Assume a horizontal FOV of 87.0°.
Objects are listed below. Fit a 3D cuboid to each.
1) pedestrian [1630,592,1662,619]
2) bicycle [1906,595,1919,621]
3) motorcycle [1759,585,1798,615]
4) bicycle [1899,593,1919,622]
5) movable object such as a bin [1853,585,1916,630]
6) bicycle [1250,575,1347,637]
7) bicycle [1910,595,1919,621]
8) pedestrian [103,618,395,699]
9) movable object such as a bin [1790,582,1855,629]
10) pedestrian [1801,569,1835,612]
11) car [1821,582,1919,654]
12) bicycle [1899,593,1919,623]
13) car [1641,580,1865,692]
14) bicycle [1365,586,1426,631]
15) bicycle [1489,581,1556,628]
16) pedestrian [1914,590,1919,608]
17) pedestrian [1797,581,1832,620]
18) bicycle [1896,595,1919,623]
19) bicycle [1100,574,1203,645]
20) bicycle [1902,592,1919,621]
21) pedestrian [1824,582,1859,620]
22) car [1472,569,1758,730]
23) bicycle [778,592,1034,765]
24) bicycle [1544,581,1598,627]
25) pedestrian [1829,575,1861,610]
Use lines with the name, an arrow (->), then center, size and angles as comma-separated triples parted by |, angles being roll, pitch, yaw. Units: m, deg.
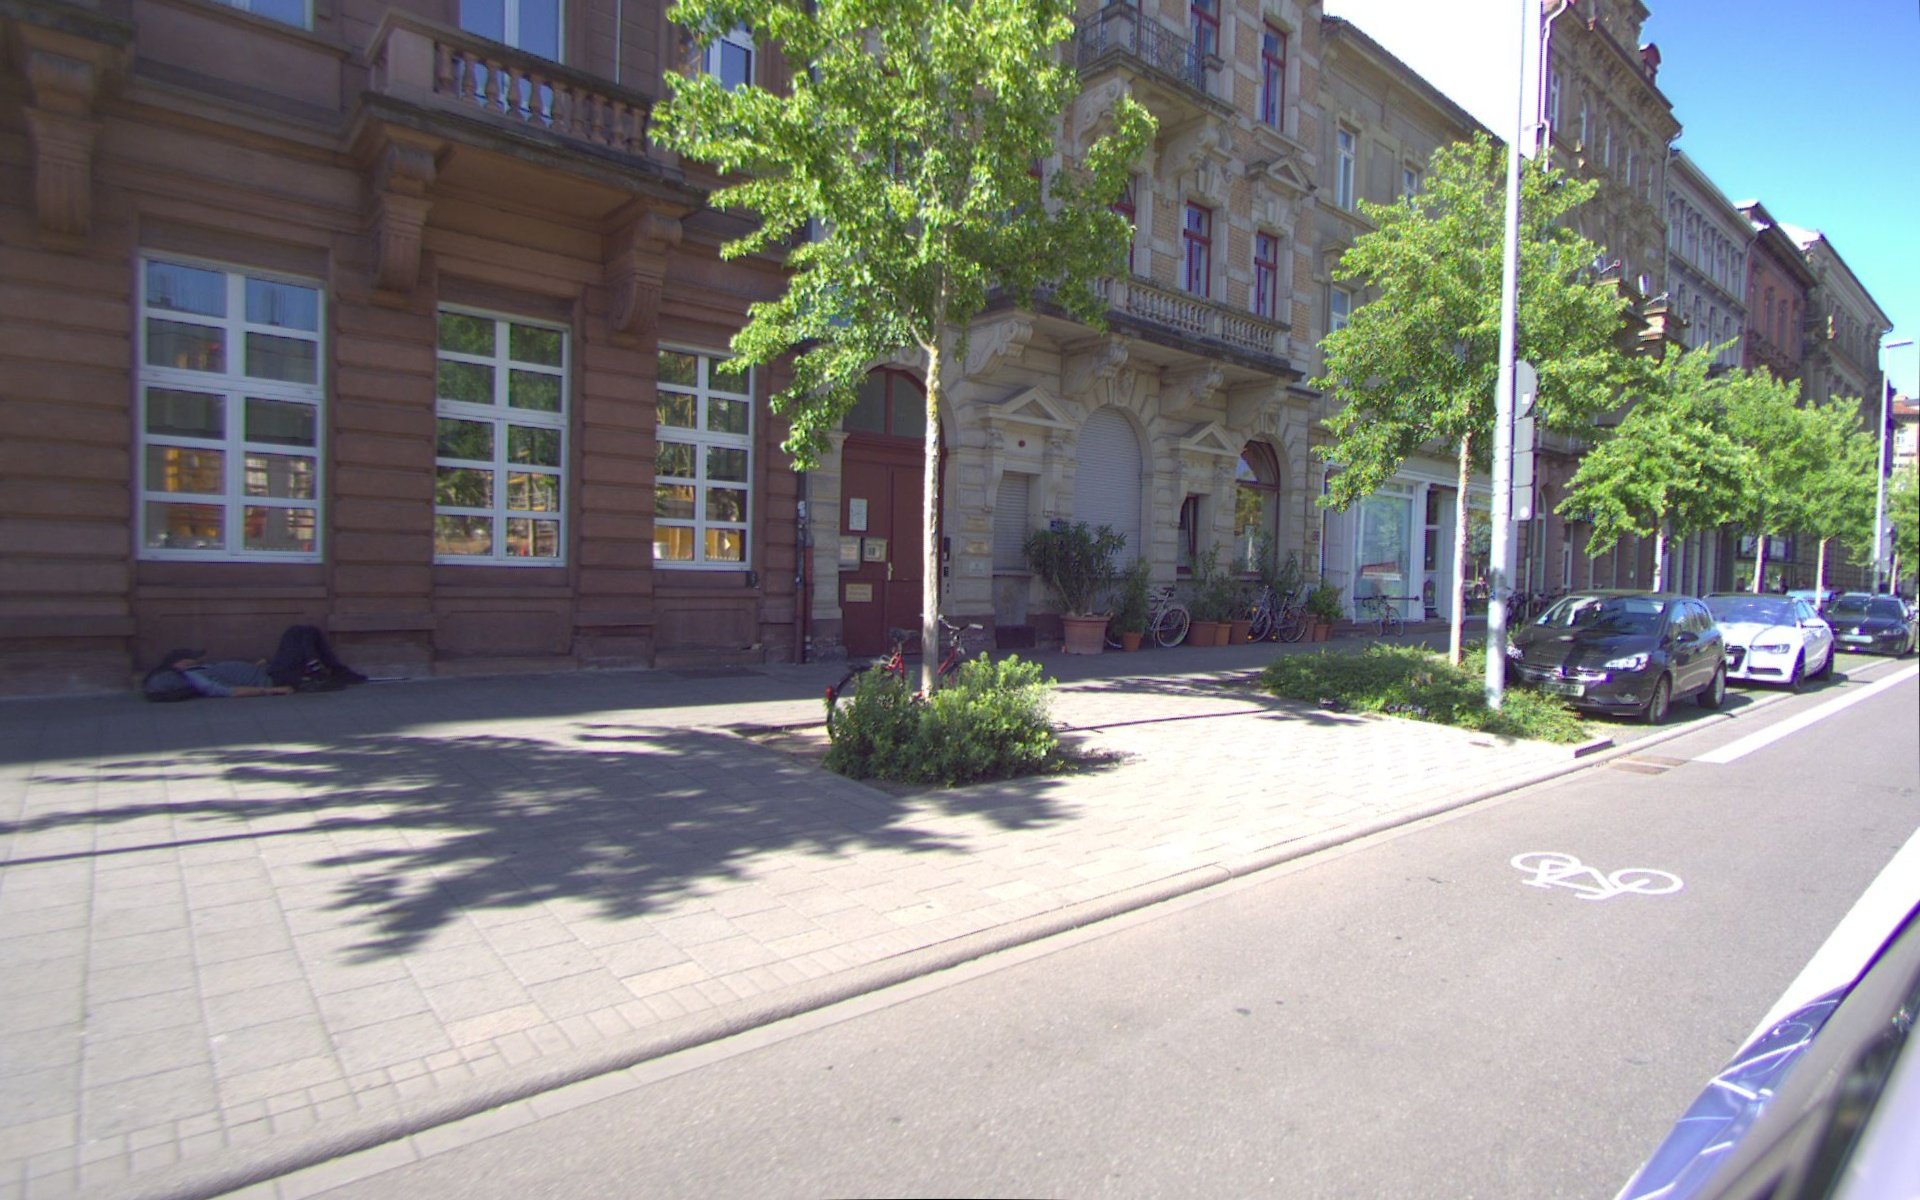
pedestrian -> 22.887, 0.176, 33.770 | 0.867, 0.828, 0.968 | 1, 2, 36
bicycle -> 41.644, 0.394, 43.173 | 1.815, 1.068, 0.562 | 5, 4, 44
motorcycle -> 36.160, -0.021, 44.689 | 2.930, 1.282, 0.867 | -1, 2, -41
bicycle -> 39.603, 0.376, 41.116 | 2.045, 1.120, 0.601 | 7, 5, 44
movable object such as a bin -> 31.505, 0.254, 34.483 | 1.612, 1.482, 1.275 | 3, -1, -36
bicycle -> 6.511, 0.103, 19.423 | 2.160, 1.103, 0.722 | 0, 3, -41
bicycle -> 42.758, 0.387, 44.096 | 0.509, 1.122, 1.893 | -1, 4, -45
pedestrian -> -6.023, 0.462, 8.645 | 1.972, 0.560, 0.775 | 0, 2, -41
movable object such as a bin -> 30.349, 0.165, 35.595 | 1.718, 1.513, 1.377 | -1, 5, -40
pedestrian -> 40.144, -0.470, 47.343 | 1.077, 1.943, 0.893 | 0, 4, -36
car -> 22.864, 0.366, 25.097 | 4.375, 1.494, 1.768 | -1, 5, -44
bicycle -> 39.306, 0.385, 40.847 | 1.977, 1.137, 0.474 | 8, 5, 44
car -> 13.389, 0.483, 16.969 | 5.016, 1.513, 1.956 | 0, 4, -41
bicycle -> 9.719, 0.183, 22.549 | 1.977, 0.957, 0.448 | 0, 1, -41
bicycle -> 14.783, 0.100, 26.581 | 2.145, 1.118, 0.877 | 0, 5, -44
pedestrian -> 64.561, -0.062, 67.893 | 0.866, 1.197, 0.719 | -1, 3, -42
pedestrian -> 37.755, 0.037, 44.707 | 0.975, 1.659, 0.973 | 1, 2, -41
bicycle -> 40.598, 0.414, 42.112 | 2.278, 1.115, 0.480 | 5, 4, 36
bicycle -> 3.195, 0.140, 16.735 | 2.021, 1.103, 0.482 | 0, 3, -41
bicycle -> 40.437, 0.344, 41.779 | 2.142, 1.168, 0.424 | 7, 5, 36
pedestrian -> 38.792, 0.045, 44.528 | 1.061, 1.586, 0.952 | 1, 2, -41
car -> 8.320, 0.468, 12.716 | 4.147, 1.588, 1.888 | -1, 5, -41
bicycle -> -0.360, 0.538, 7.987 | 0.650, 1.133, 2.138 | 4, 4, 43
bicycle -> 17.162, 0.090, 28.431 | 1.770, 1.215, 0.749 | -1, 4, -41
pedestrian -> 45.129, -0.388, 51.613 | 1.094, 1.712, 0.972 | 0, 4, -39
